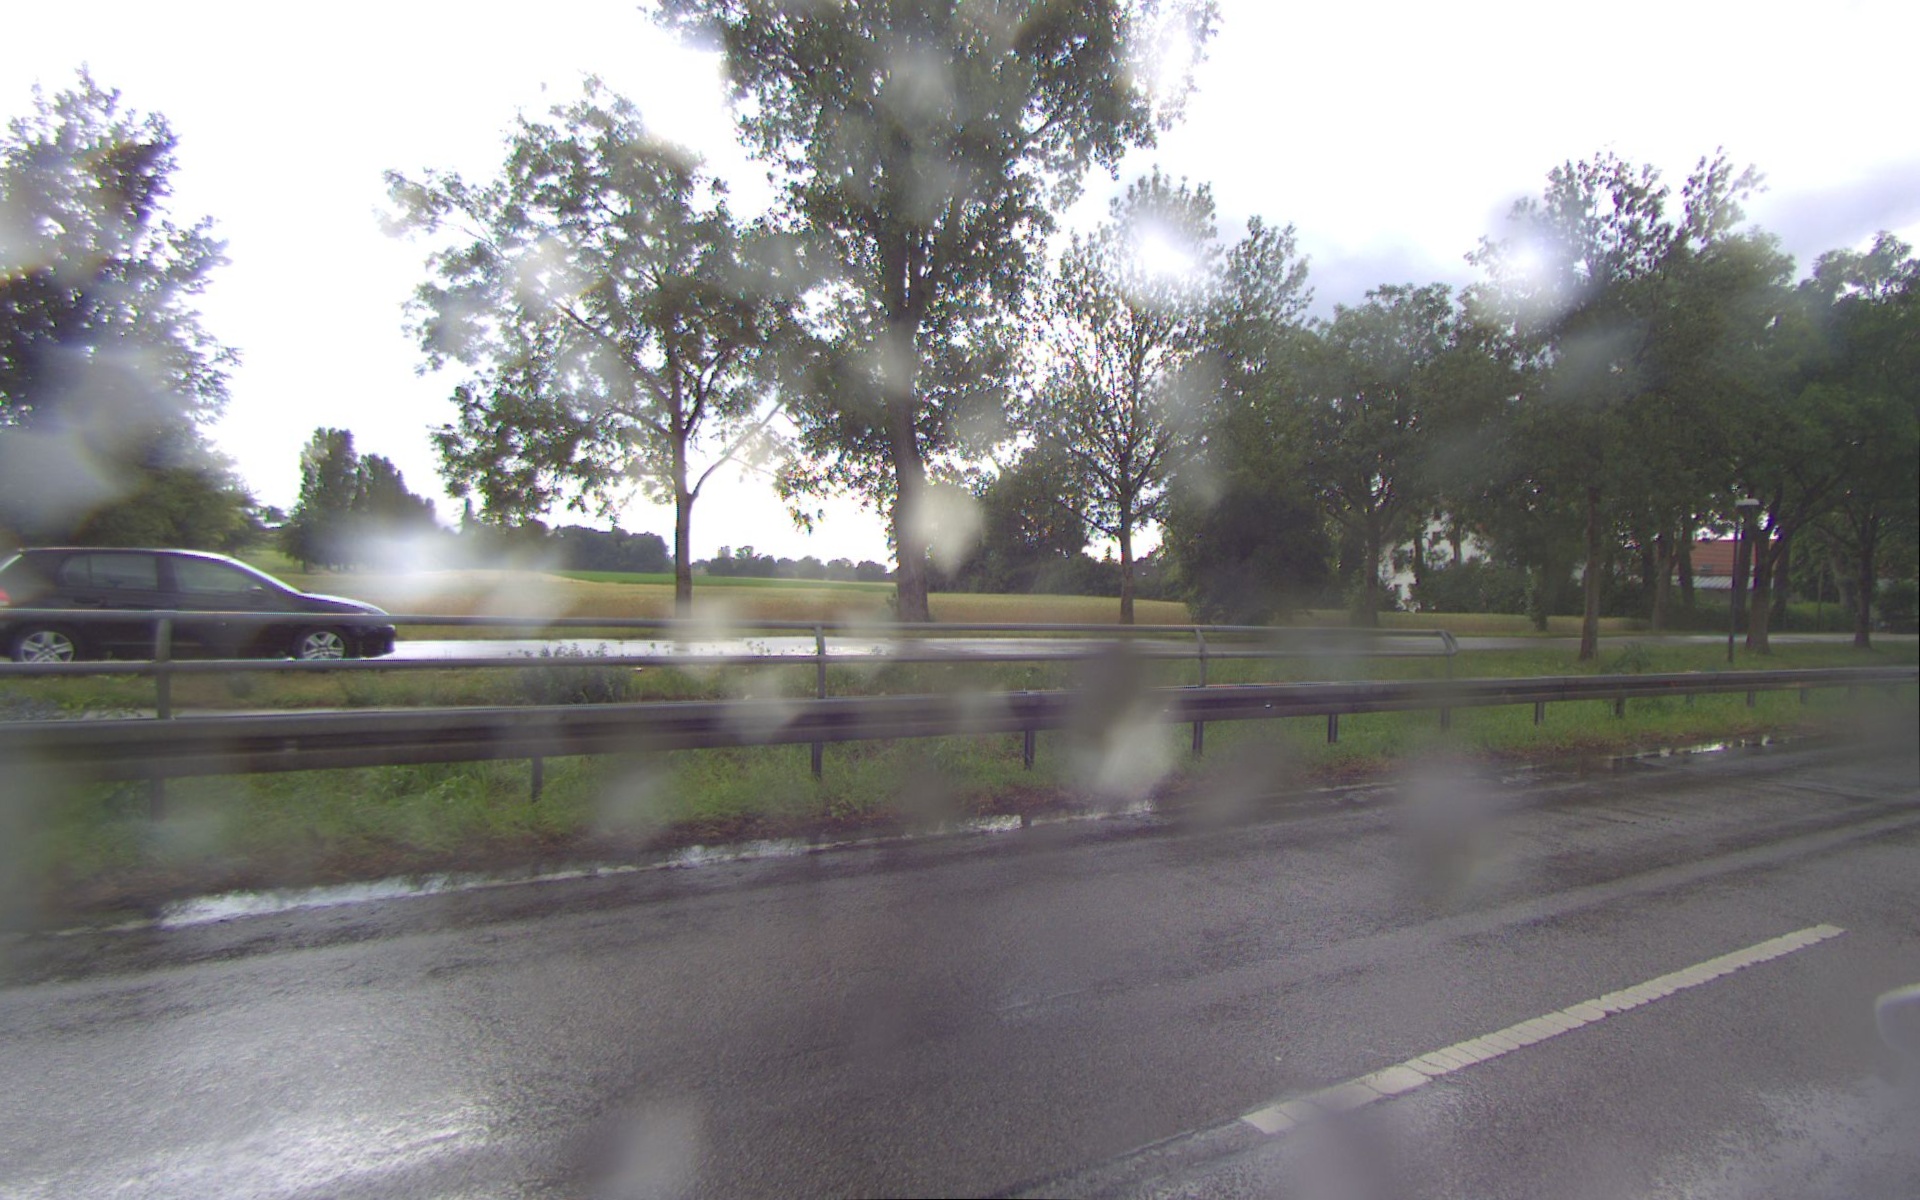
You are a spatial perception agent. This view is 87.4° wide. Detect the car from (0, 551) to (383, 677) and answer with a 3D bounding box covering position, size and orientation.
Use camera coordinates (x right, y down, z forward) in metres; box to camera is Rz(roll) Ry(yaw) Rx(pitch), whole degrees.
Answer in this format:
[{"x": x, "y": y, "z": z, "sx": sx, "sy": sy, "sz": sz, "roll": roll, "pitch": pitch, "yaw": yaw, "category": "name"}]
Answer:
[{"x": -9.271, "y": 0.173, "z": 12.181, "sx": 3.859, "sy": 1.348, "sz": 1.274, "roll": 1, "pitch": 0, "yaw": -35, "category": "car"}]
